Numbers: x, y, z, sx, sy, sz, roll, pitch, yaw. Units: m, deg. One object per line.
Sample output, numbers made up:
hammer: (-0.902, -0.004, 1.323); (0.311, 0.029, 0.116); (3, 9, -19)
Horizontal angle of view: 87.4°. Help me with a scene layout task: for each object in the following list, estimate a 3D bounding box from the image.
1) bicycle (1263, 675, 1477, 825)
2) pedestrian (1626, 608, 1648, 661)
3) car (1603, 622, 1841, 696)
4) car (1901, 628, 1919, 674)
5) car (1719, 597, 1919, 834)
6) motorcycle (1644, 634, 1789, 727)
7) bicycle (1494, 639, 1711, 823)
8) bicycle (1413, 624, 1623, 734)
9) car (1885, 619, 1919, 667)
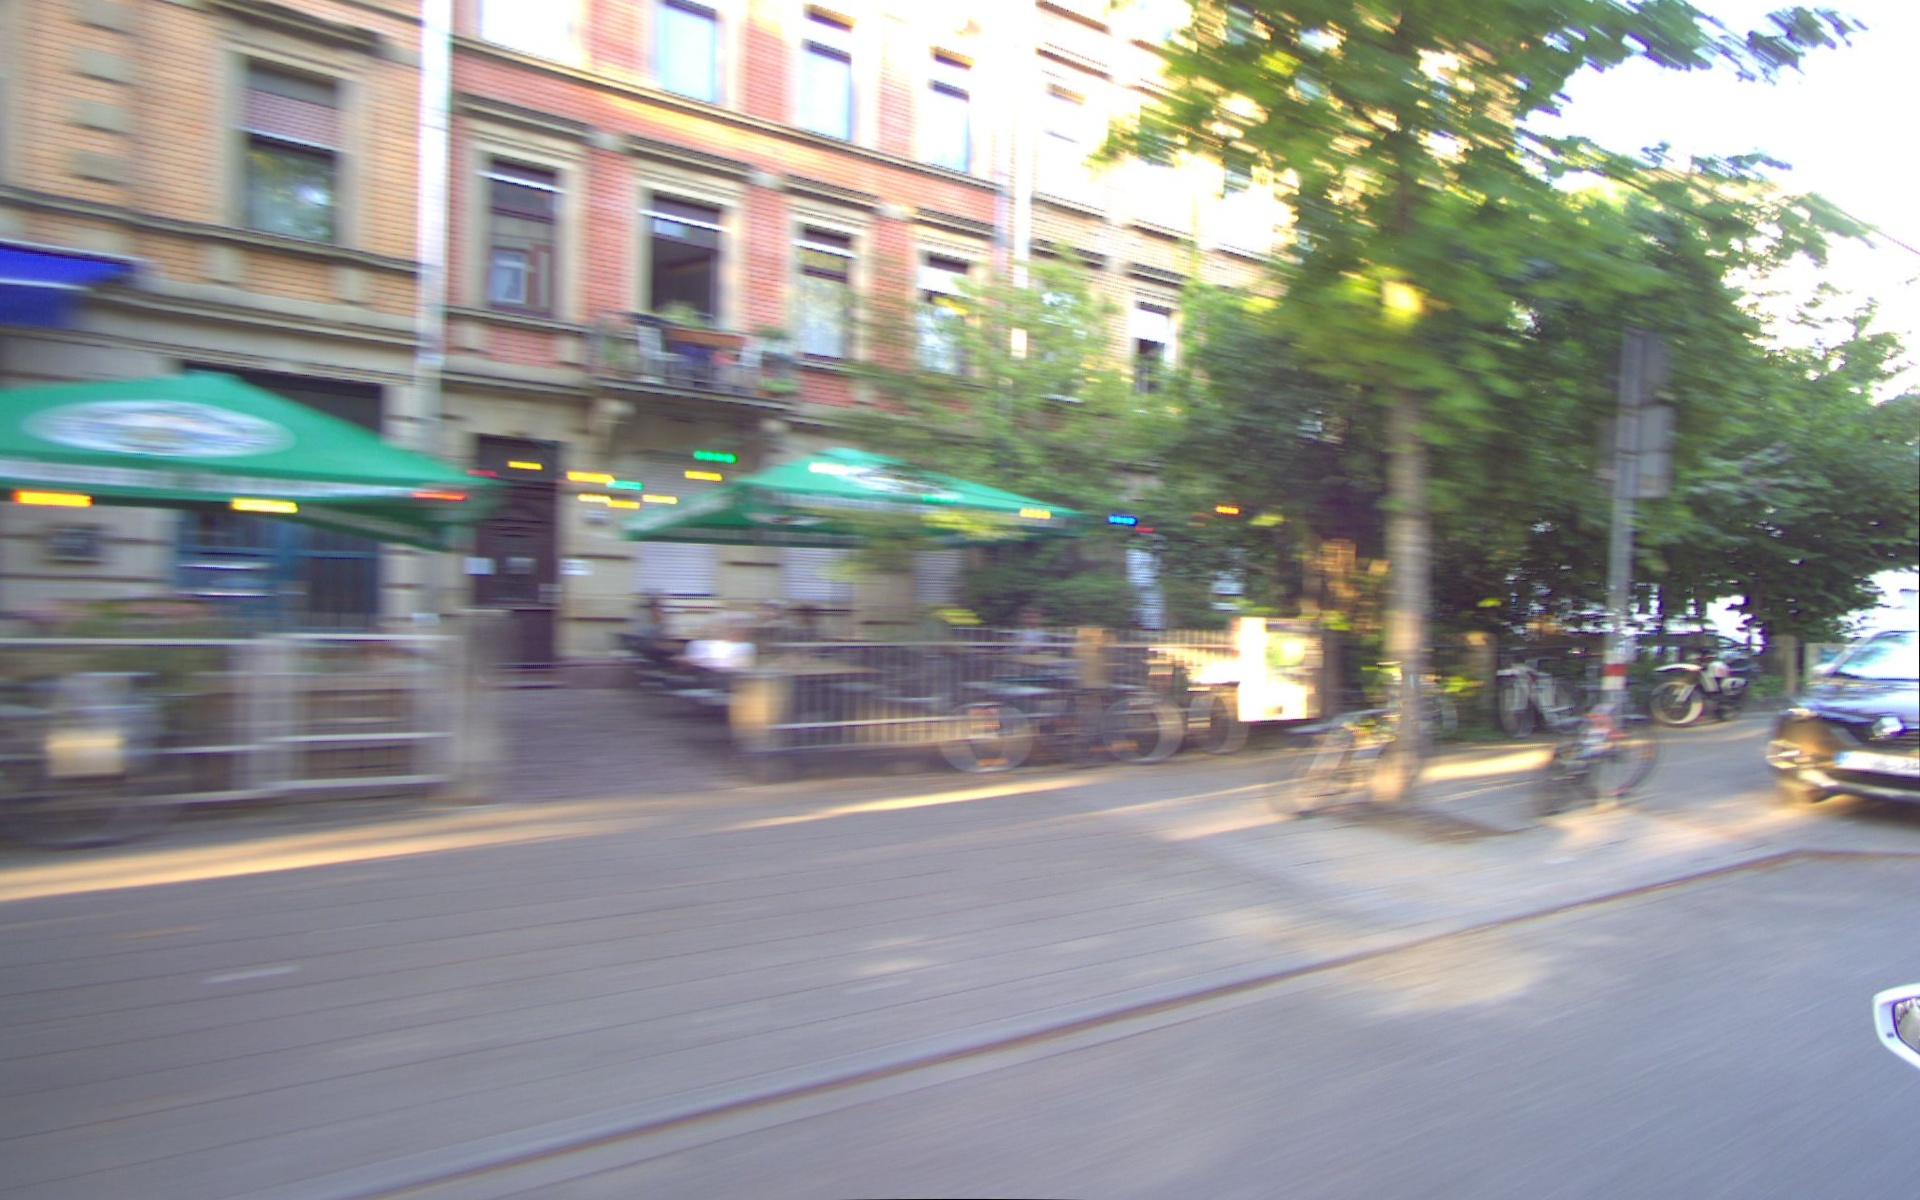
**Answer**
bicycle: (3.023, 1.055, 7.350); (1.712, 0.941, 0.414); (1, 2, -28)
pedestrian: (22.446, 1.149, 33.308); (0.528, 1.706, 0.579); (2, 3, 40)
car: (18.578, 1.371, 24.686); (1.694, 1.572, 4.416); (0, 0, -39)
car: (32.345, 1.674, 31.279); (1.789, 1.467, 4.088); (0, 0, -19)
car: (8.309, 0.841, 8.391); (4.354, 1.585, 1.680); (1, 2, -33)
motorcycle: (10.962, 1.117, 14.516); (2.857, 1.172, 0.579); (0, 3, -30)
bicycle: (5.004, 0.958, 7.789); (1.876, 1.272, 0.480); (1, 3, -28)
bicycle: (6.909, 0.964, 12.460); (2.441, 1.301, 0.606); (1, -1, -10)
car: (30.575, 1.342, 29.969); (1.683, 1.467, 4.086); (0, 0, -21)
